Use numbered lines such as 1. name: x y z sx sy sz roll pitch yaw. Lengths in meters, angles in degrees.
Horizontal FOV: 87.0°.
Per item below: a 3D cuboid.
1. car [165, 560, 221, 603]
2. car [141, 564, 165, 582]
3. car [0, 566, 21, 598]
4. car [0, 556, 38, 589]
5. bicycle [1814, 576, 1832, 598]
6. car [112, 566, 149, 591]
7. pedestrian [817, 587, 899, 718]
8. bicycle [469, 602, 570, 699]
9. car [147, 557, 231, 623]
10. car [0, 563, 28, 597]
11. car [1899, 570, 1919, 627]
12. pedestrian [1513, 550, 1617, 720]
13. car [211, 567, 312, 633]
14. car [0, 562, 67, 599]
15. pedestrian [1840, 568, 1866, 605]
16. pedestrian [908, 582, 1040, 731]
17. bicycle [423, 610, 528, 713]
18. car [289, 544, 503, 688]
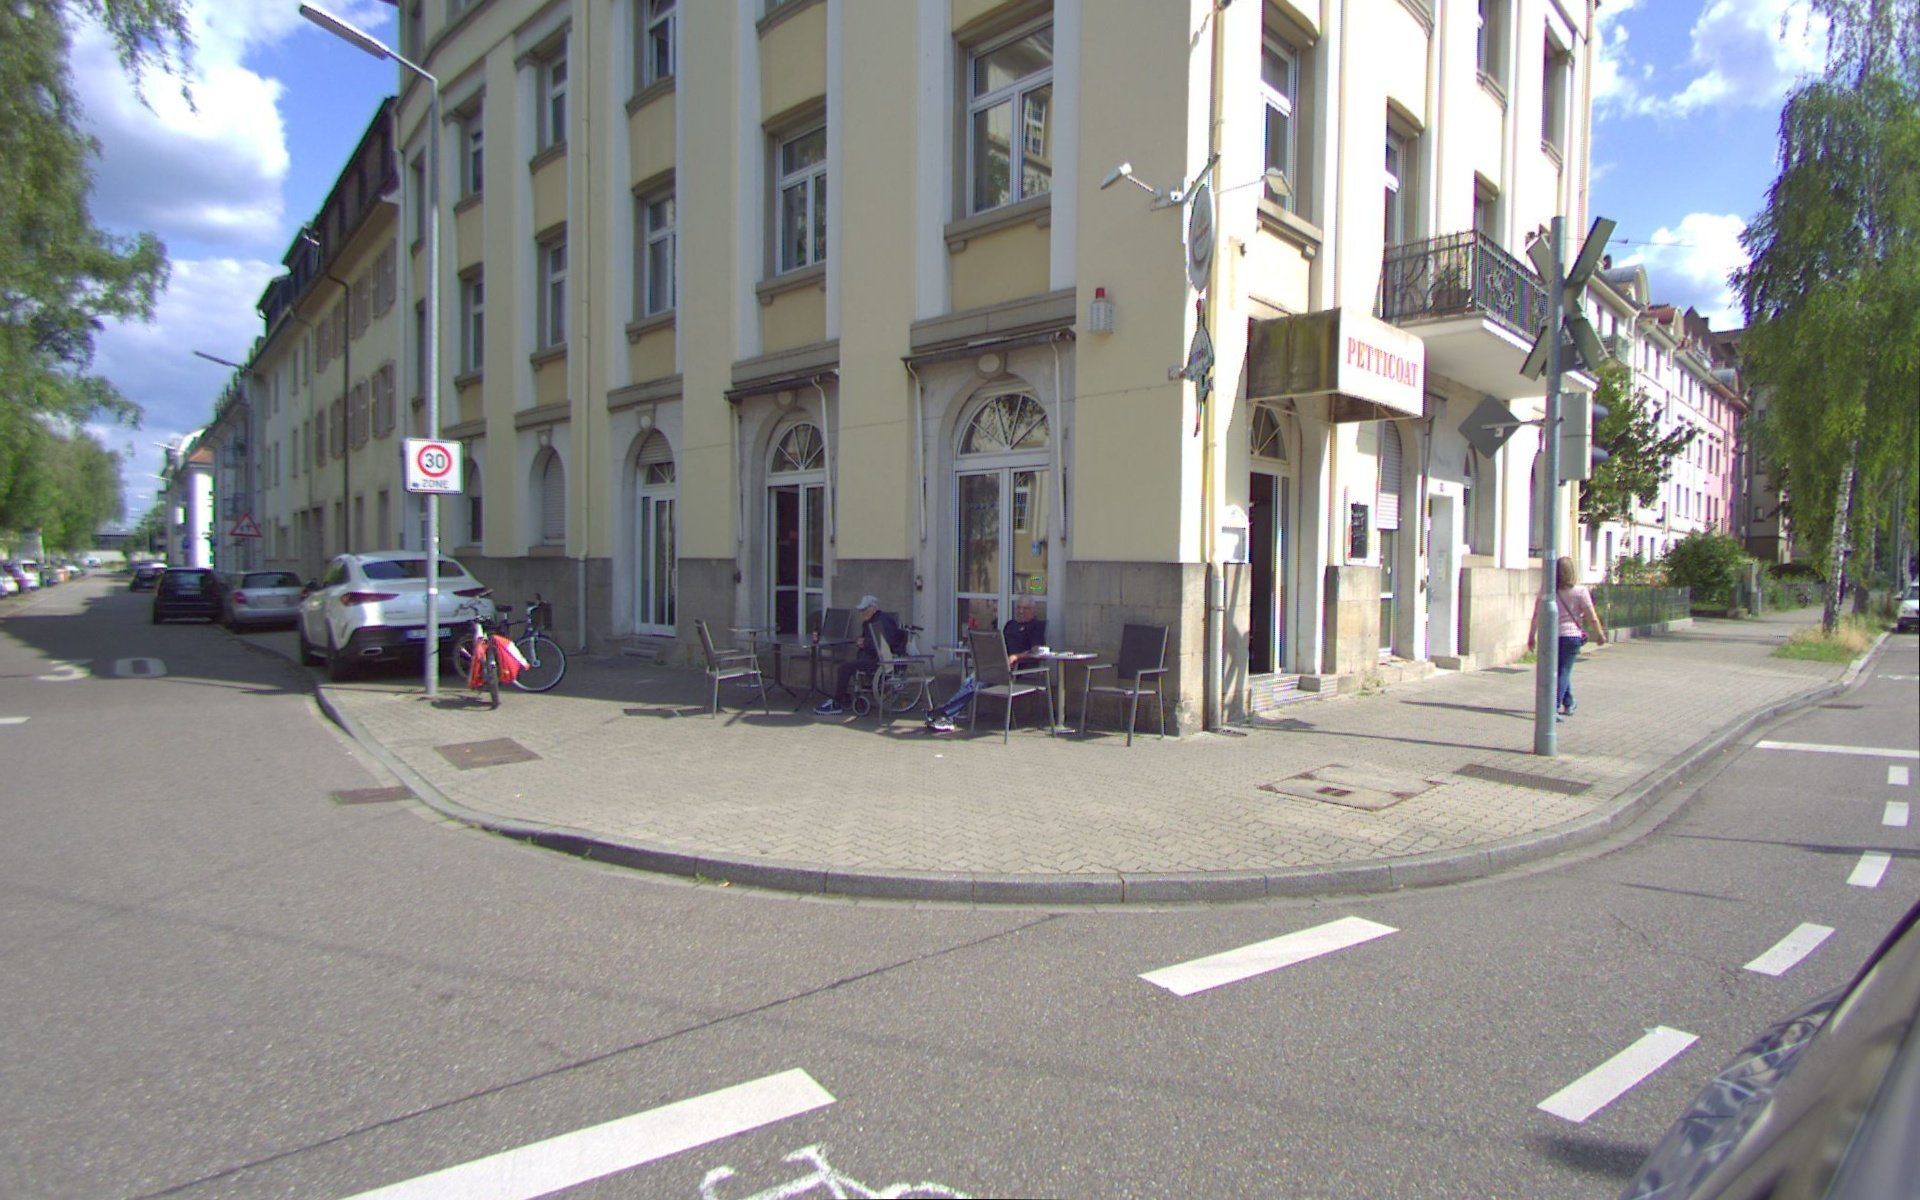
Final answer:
1. car: -32.825 -0.826 43.269 1.706 1.760 3.645 -1 2 -40
2. car: -67.349 -2.280 84.409 1.467 1.485 3.293 -1 2 -40
3. car: -45.118 -0.818 45.686 3.662 1.415 1.714 0 2 -10
4. car: -49.797 -1.402 51.874 3.436 1.684 1.415 0 2 -16
5. bicycle: 44.564 -0.681 52.226 2.146 1.090 0.472 -1 2 -44
6. car: -51.800 -1.350 63.183 1.706 1.485 3.645 -1 2 -40
7. pedestrian: -1.052 0.516 10.461 0.534 1.284 0.651 3 3 42
8. bicycle: -5.340 0.570 12.224 0.575 0.979 1.650 -4 5 -43
9. car: -22.009 -0.288 28.835 1.706 1.760 3.644 1 1 -40
10. car: -46.664 -0.965 47.526 3.916 1.552 1.712 0 2 -13
11. car: 29.541 -0.097 30.310 3.932 1.650 1.723 -1 0 -42
12. pedestrian: 6.291 0.331 10.521 0.751 1.668 0.673 0 3 -43
13. car: -17.601 -0.053 25.435 1.595 1.477 3.589 -4 4 -42
14. car: -37.818 -0.782 40.481 2.936 1.433 1.233 0 2 -28
15. pedestrian: 41.979 -0.641 47.569 0.679 1.703 0.731 0 4 -41
16. pedestrian: 0.157 0.494 9.706 0.534 1.284 1.285 1 3 42
17. bicycle: -5.468 0.651 11.374 0.575 0.980 1.649 -3 4 -43
18. car: -8.360 0.111 14.767 1.879 1.754 4.768 -1 2 -40
